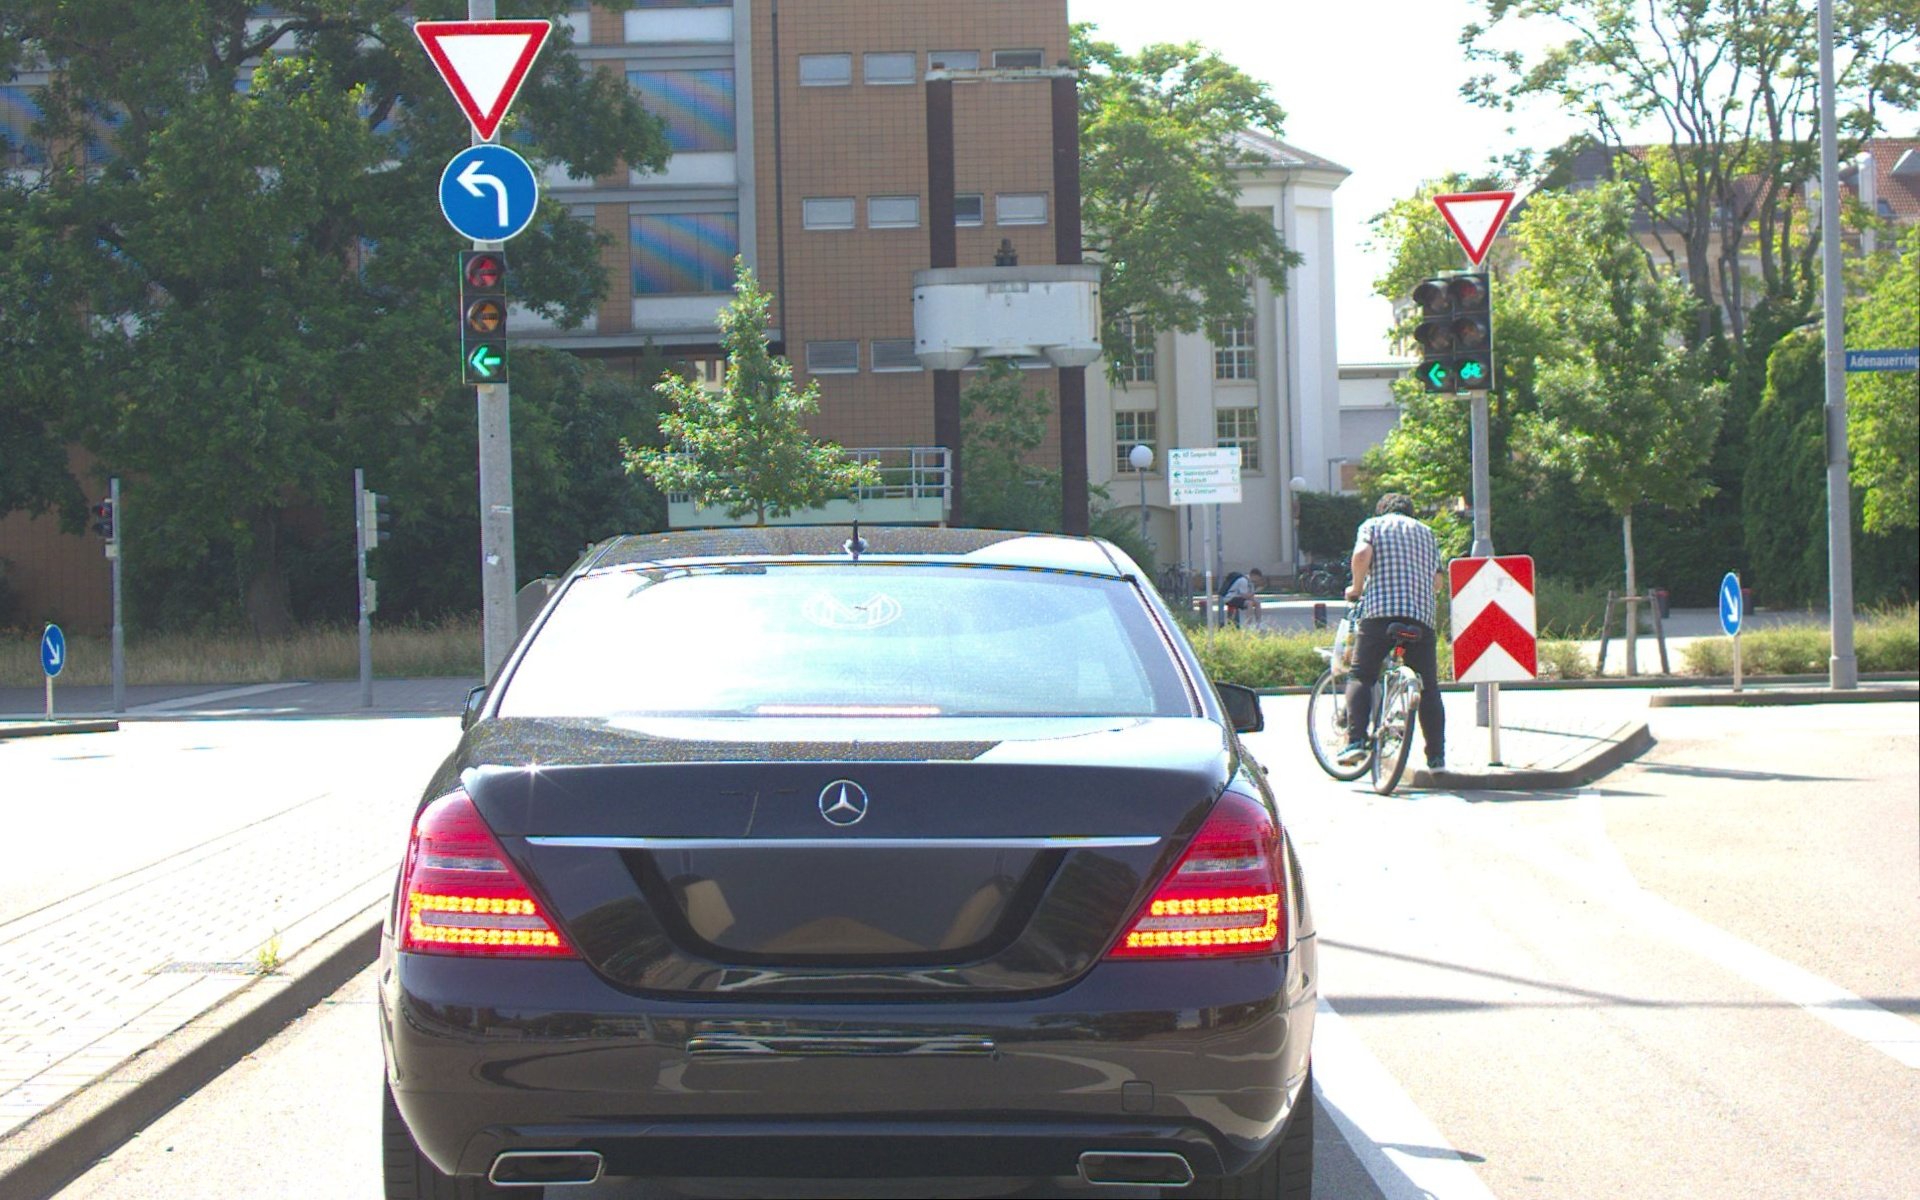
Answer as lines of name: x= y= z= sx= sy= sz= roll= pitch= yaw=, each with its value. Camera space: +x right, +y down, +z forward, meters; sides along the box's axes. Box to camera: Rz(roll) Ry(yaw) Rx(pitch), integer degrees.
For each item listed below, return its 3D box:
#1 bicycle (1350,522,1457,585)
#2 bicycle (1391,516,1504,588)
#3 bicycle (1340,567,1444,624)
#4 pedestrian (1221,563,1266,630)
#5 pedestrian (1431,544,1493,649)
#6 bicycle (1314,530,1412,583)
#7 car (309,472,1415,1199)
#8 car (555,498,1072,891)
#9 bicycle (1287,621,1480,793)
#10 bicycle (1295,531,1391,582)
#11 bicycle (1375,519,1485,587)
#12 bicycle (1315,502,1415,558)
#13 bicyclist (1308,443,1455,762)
bicycle: x=12.423 y=-1.294 z=96.328 sx=2.823 sy=1.653 sz=0.842 roll=-2 pitch=2 yaw=-1
bicycle: x=12.976 y=-1.275 z=91.523 sx=2.823 sy=1.830 sz=0.842 roll=-2 pitch=1 yaw=-1
bicycle: x=12.347 y=-0.140 z=98.352 sx=2.823 sy=1.532 sz=0.842 roll=-2 pitch=1 yaw=-1
pedestrian: x=5.261 y=-0.067 z=63.743 sx=0.793 sy=1.209 sz=0.757 roll=1 pitch=0 yaw=6
pedestrian: x=7.621 y=-0.055 z=52.257 sx=0.811 sy=1.574 sz=0.692 roll=-2 pitch=0 yaw=2
bicycle: x=12.260 y=-1.330 z=104.546 sx=2.823 sy=1.495 sz=0.842 roll=-2 pitch=1 yaw=-1
car: x=-0.210 y=0.530 z=8.167 sx=1.858 sy=1.525 sz=4.714 roll=0 pitch=1 yaw=-1
car: x=-0.592 y=0.348 z=15.392 sx=1.993 sy=1.503 sz=4.000 roll=1 pitch=1 yaw=-1
bicycle: x=2.514 y=0.619 z=20.630 sx=0.692 sy=0.943 sz=1.959 roll=1 pitch=1 yaw=-7
bicycle: x=11.813 y=-1.352 z=106.104 sx=2.823 sy=1.475 sz=0.841 roll=-2 pitch=1 yaw=0
bicycle: x=12.814 y=-1.286 z=93.841 sx=2.823 sy=1.738 sz=0.842 roll=-2 pitch=1 yaw=-1
bicycle: x=11.979 y=-2.069 z=101.766 sx=2.823 sy=1.553 sz=0.842 roll=-2 pitch=1 yaw=-1
bicyclist: x=2.517 y=0.011 z=20.607 sx=0.685 sy=1.872 sz=0.860 roll=0 pitch=0 yaw=-7
